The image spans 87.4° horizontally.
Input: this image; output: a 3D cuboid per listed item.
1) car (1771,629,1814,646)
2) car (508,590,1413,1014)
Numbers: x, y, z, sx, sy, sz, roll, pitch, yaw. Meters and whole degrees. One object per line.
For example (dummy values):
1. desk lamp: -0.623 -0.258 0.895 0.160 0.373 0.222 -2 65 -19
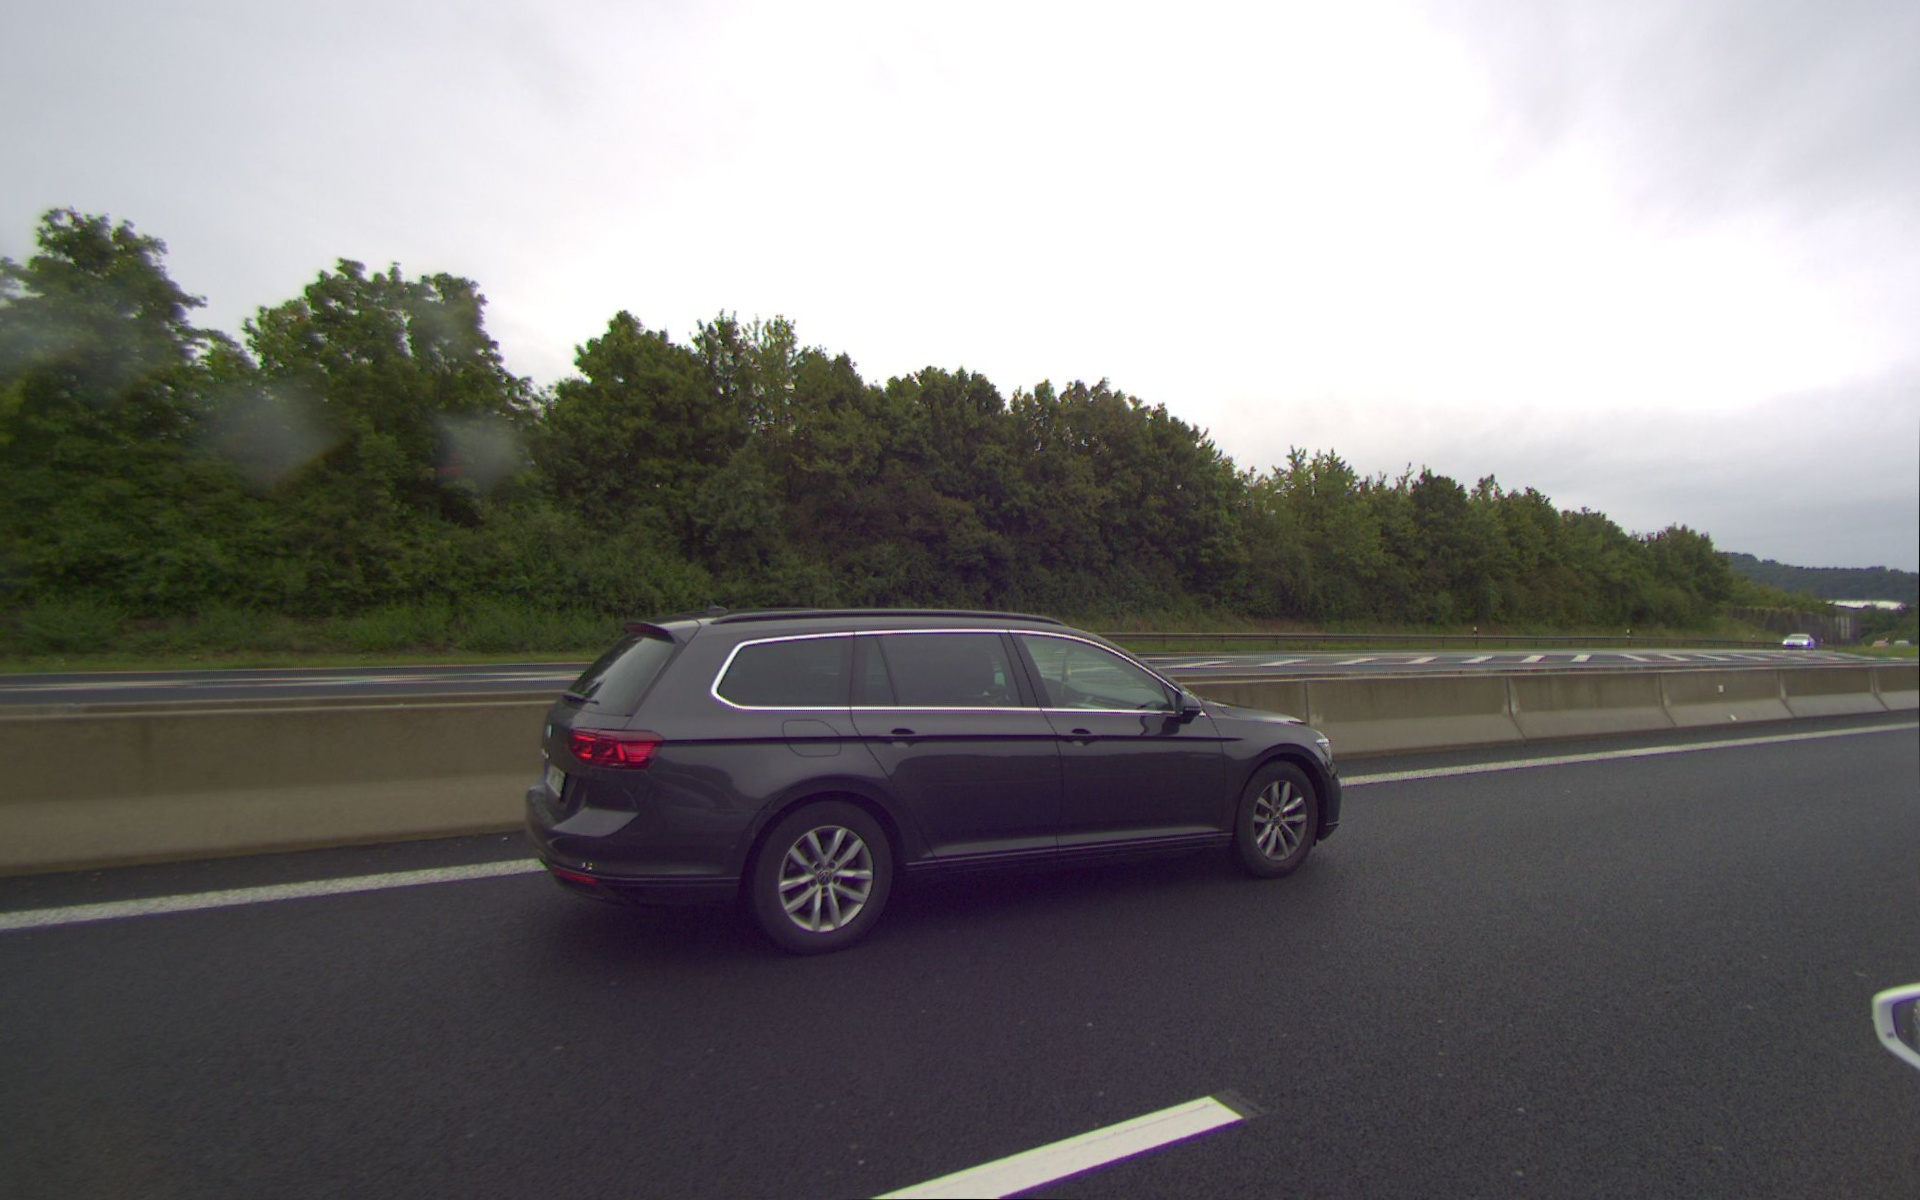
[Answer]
1. car: 75.912 3.394 91.555 4.350 1.449 2.163 2 -1 -38
2. car: 0.182 0.772 5.636 4.794 1.517 1.891 1 -1 -30
